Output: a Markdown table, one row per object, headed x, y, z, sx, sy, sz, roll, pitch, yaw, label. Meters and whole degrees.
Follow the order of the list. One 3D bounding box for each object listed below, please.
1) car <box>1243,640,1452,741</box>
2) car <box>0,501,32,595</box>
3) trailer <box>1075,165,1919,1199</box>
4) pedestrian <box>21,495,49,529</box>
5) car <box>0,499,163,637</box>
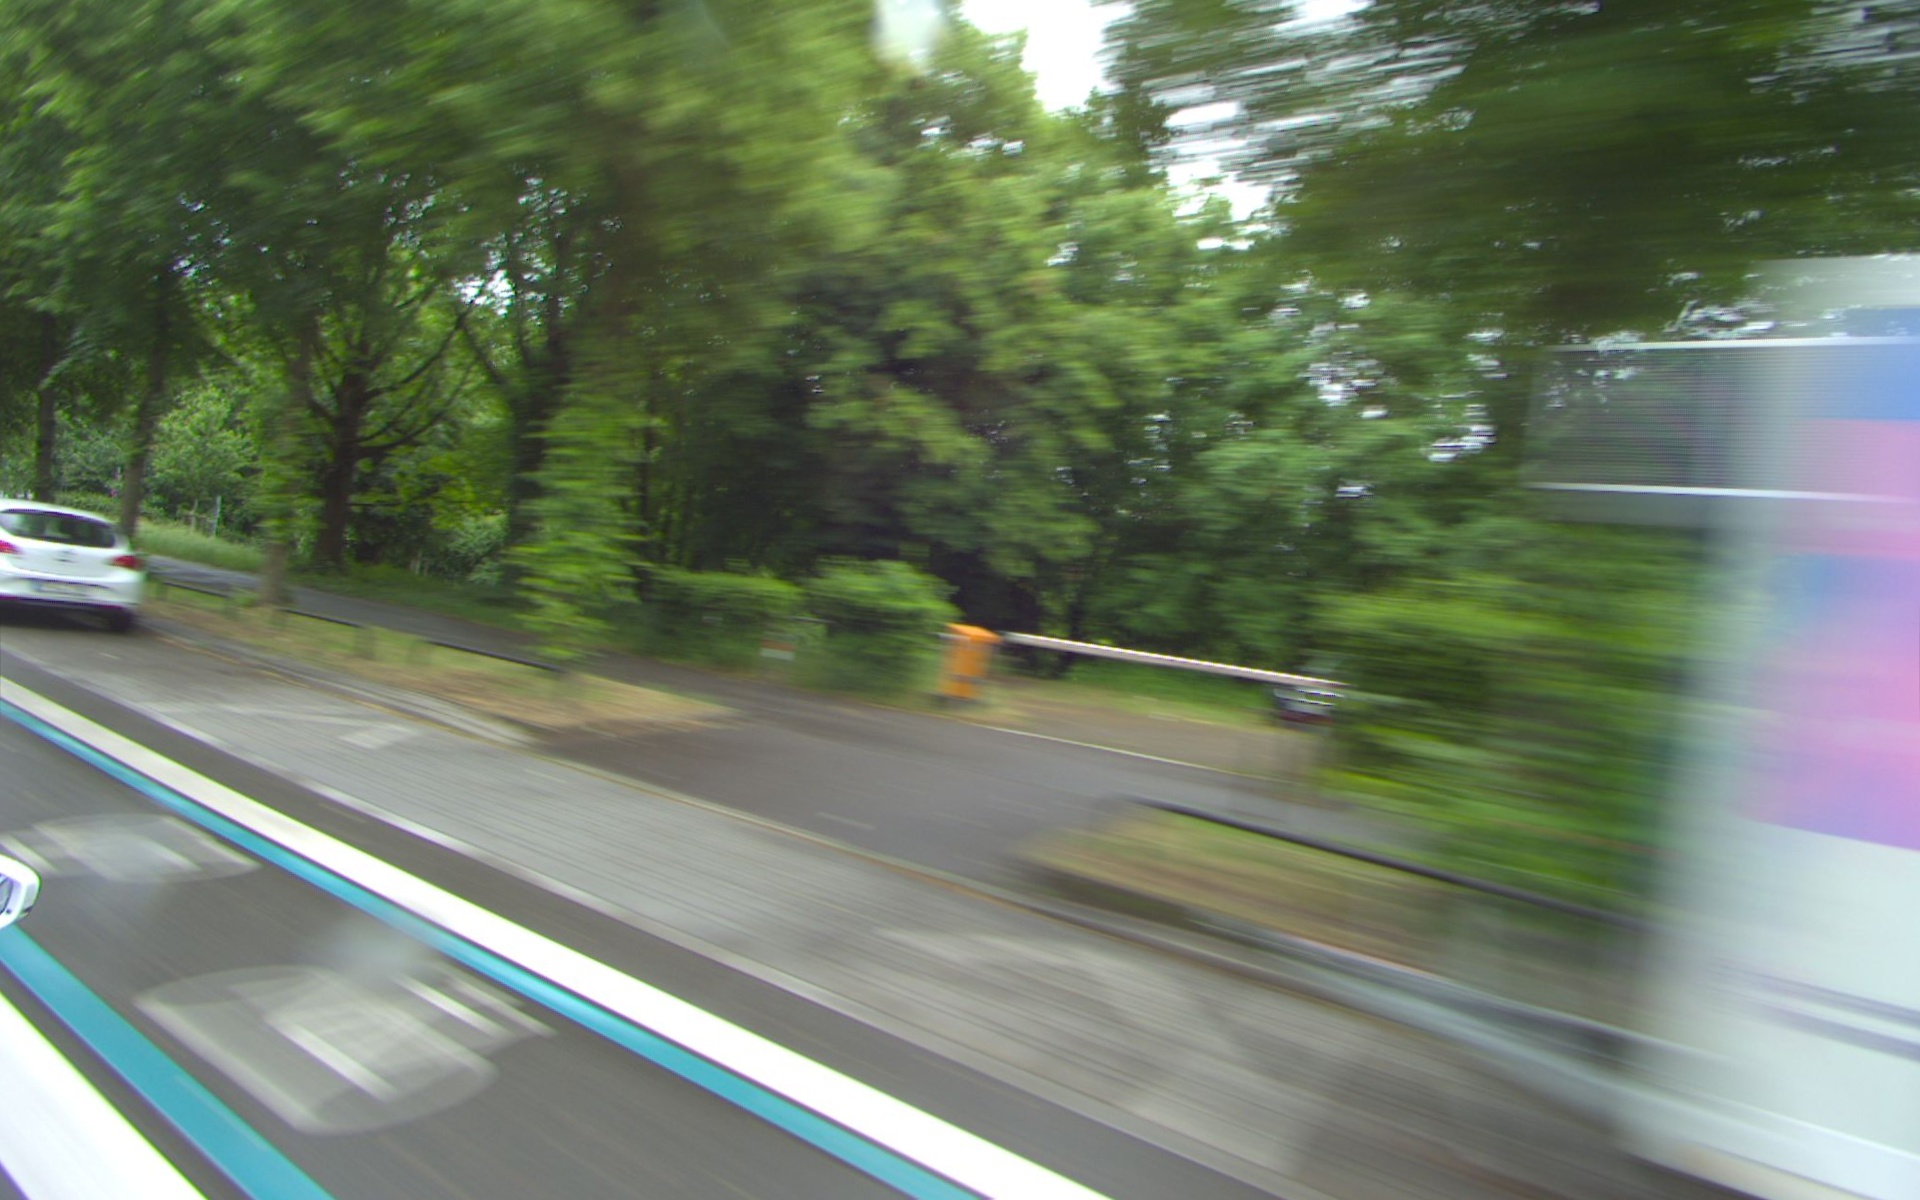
| x | y | z | sx | sy | sz | roll | pitch | yaw | label |
| --- | --- | --- | --- | --- | --- | --- | --- | --- | --- |
| 6.748 | 1.532 | 17.284 | 1.865 | 1.338 | 4.127 | 7 | 0 | 42 | car |
| -17.170 | -1.074 | 16.865 | 4.255 | 1.444 | 1.684 | 6 | -3 | 40 | car |
| 3.323 | 0.658 | 2.513 | 5.287 | 2.703 | 2.320 | 7 | -1 | 31 | trailer |
| -51.529 | -4.912 | 56.048 | 1.130 | 1.753 | 0.886 | 7 | -1 | 40 | pedestrian |
| -12.470 | -0.561 | 13.241 | 4.578 | 1.444 | 1.862 | 6 | -3 | 37 | car |
